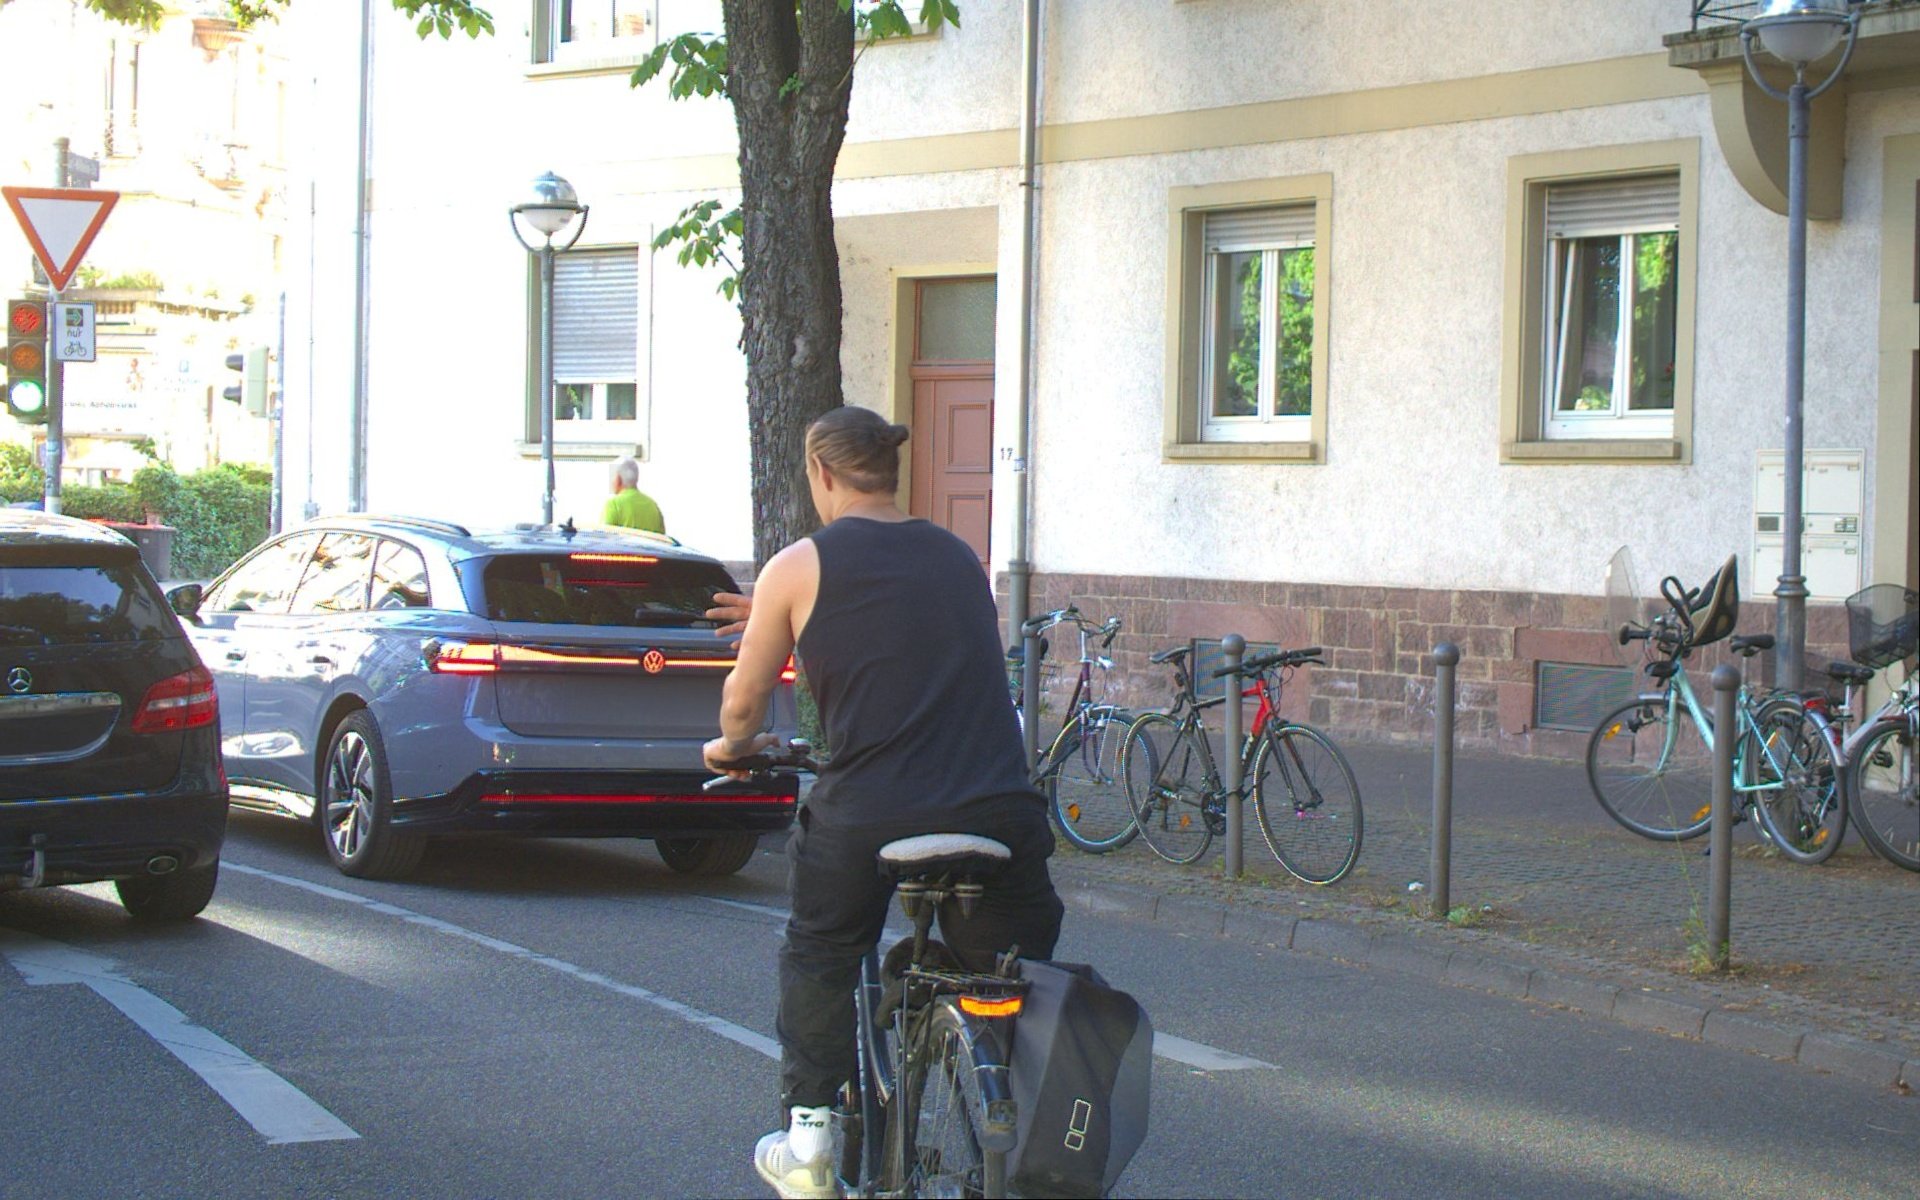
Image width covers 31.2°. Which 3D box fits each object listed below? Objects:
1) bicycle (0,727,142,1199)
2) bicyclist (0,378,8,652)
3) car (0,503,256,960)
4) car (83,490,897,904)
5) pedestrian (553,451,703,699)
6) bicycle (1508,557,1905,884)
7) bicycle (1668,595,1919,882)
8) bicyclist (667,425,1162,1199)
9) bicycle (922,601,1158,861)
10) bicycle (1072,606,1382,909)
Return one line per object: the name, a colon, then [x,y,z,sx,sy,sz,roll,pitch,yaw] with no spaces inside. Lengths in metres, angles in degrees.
bicycle: [-2.398,0.776,6.684,0.717,1.103,1.966,1,2,-41]
bicyclist: [-2.367,0.350,6.528,0.707,1.568,0.957,1,1,-40]
car: [-4.318,0.402,13.286,1.790,1.536,3.860,-2,2,-34]
car: [-2.324,0.361,15.801,1.970,1.580,4.475,3,0,-32]
pedestrian: [-2.368,-0.197,24.507,0.643,1.721,0.888,-3,3,-41]
bicycle: [3.187,0.473,14.892,0.717,1.273,1.967,-1,2,-21]
bicycle: [3.899,0.566,14.911,0.667,1.103,1.967,1,1,-19]
bicyclist: [-0.114,0.515,6.374,0.686,1.650,0.990,0,2,-15]
bicycle: [0.351,0.578,16.010,0.480,1.060,1.636,-2,3,-22]
bicycle: [1.090,0.622,14.436,0.526,1.103,1.741,-2,3,-24]
